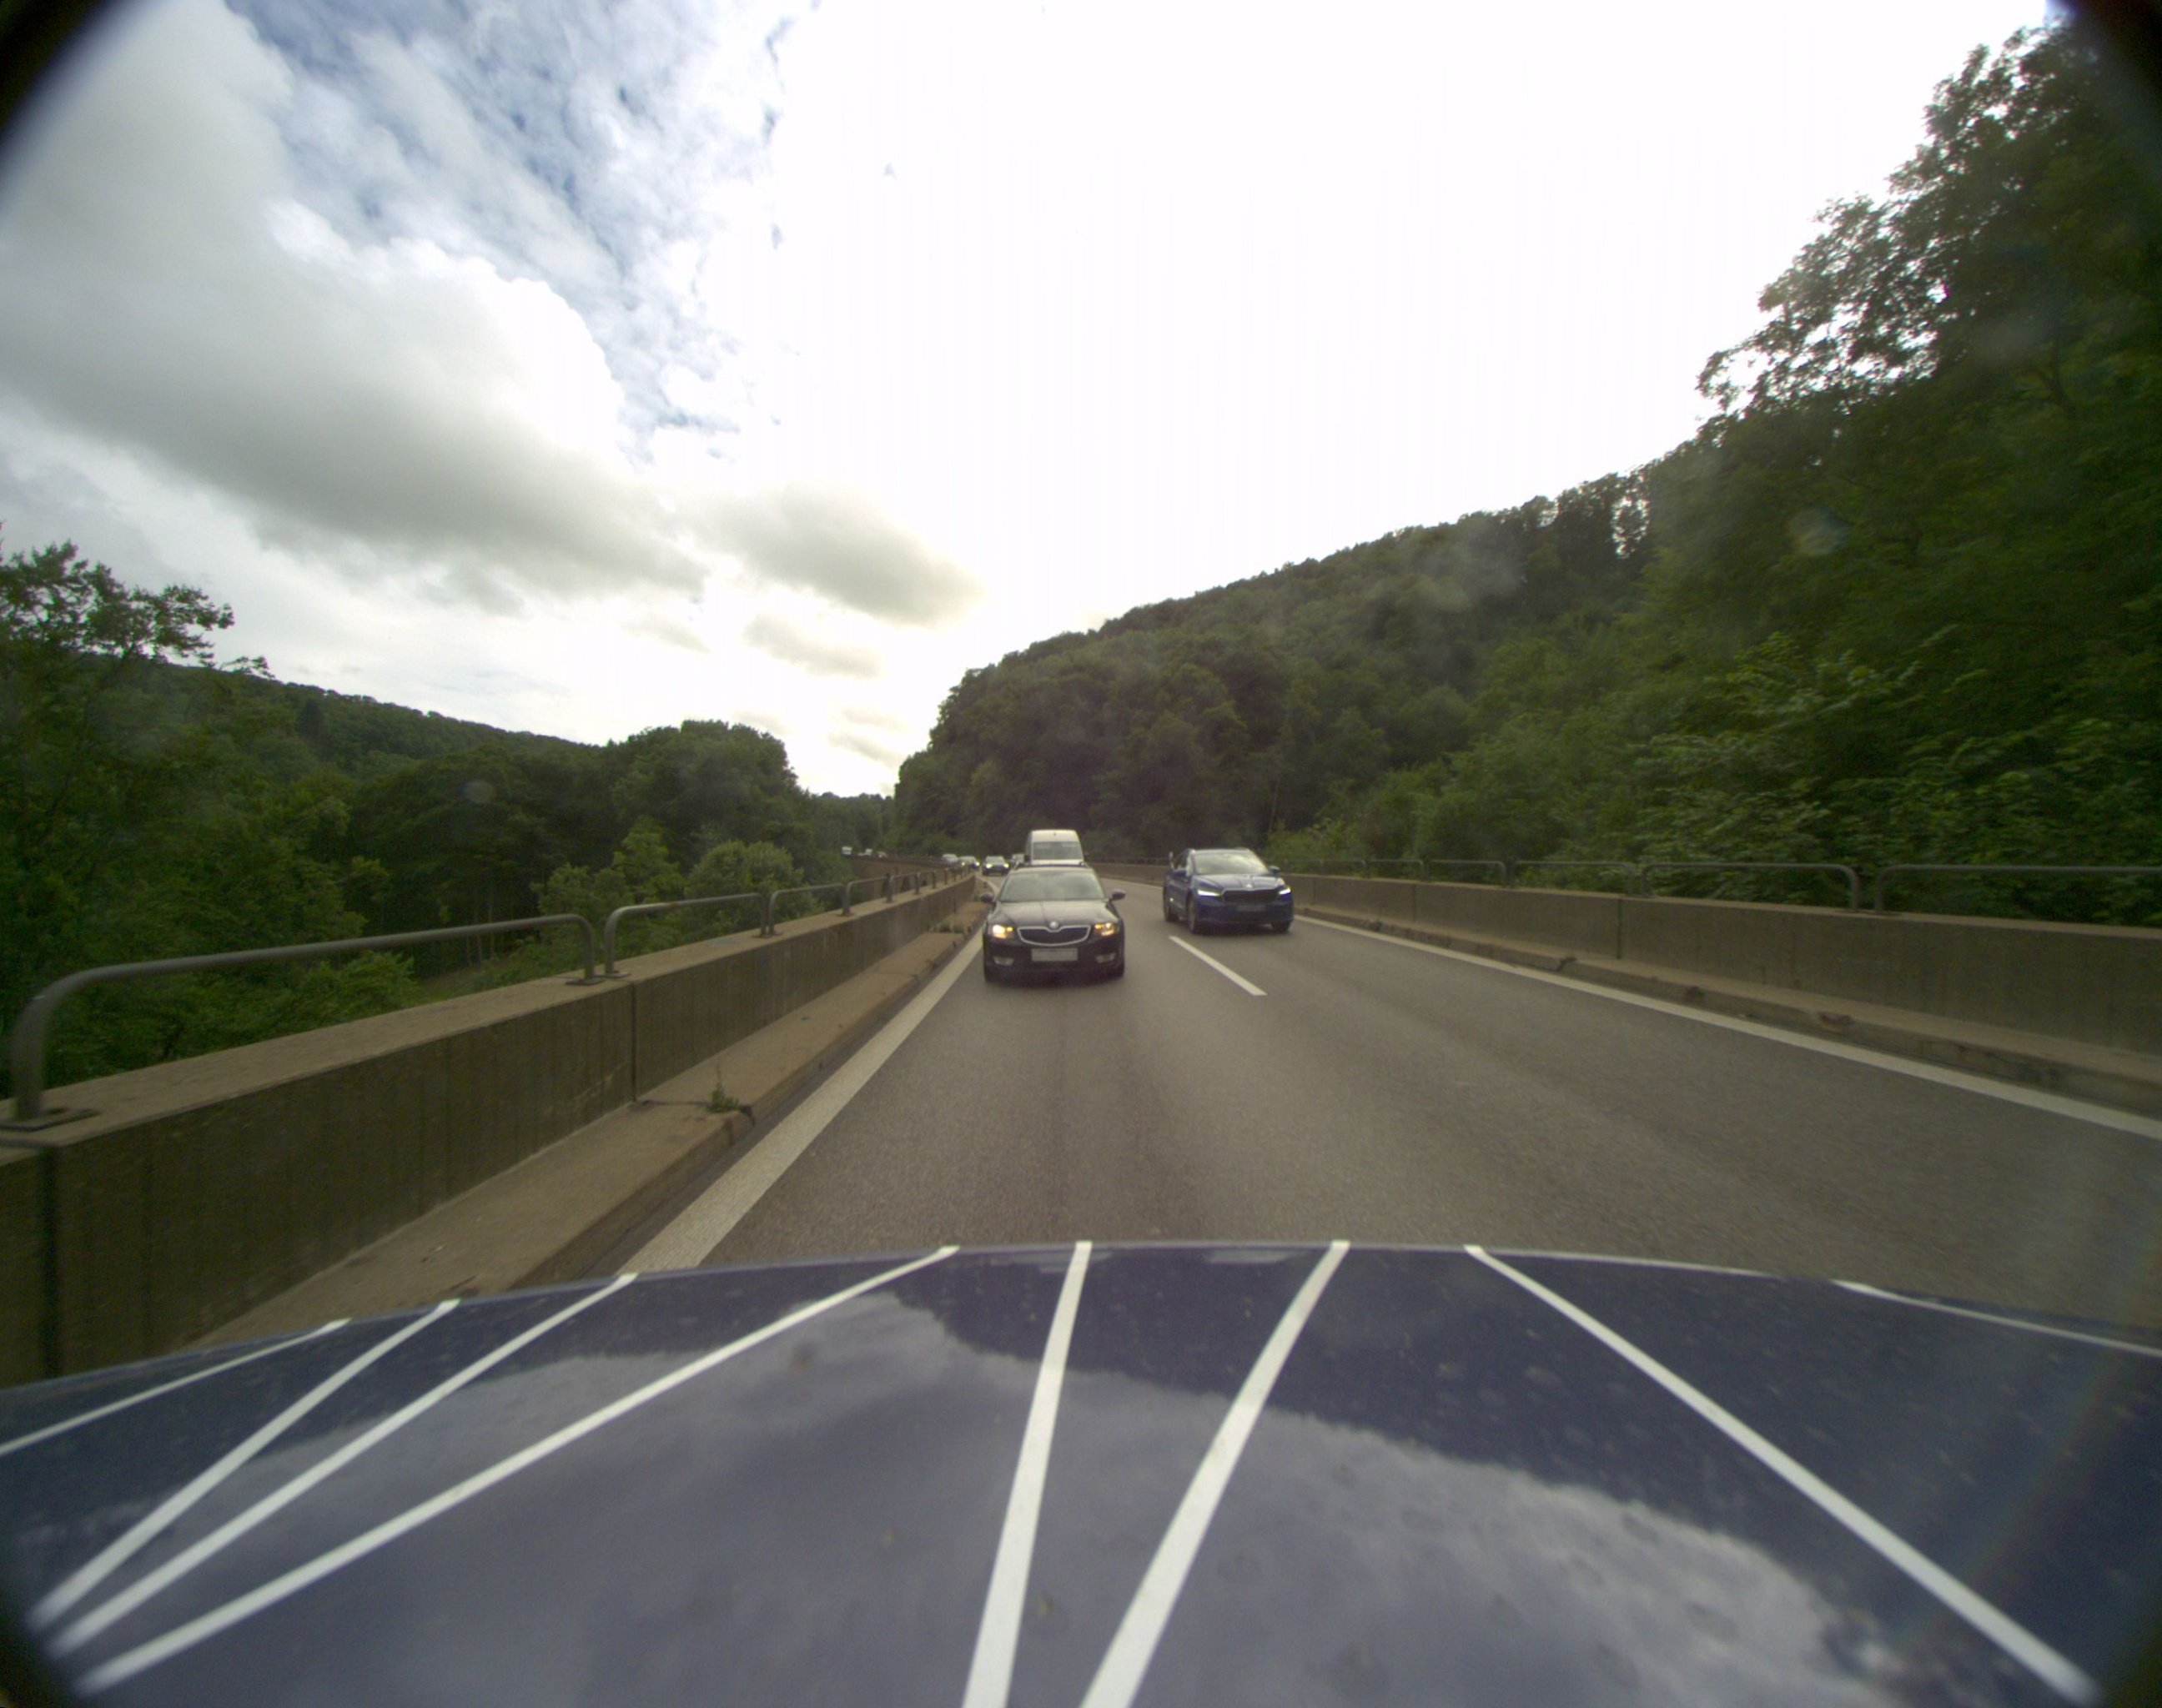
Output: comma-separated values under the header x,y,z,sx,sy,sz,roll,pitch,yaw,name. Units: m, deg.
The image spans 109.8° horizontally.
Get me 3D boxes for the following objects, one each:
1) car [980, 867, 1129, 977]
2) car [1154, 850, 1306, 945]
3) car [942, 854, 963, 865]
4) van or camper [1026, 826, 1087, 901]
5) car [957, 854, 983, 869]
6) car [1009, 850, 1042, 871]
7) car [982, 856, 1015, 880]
x,y,z,sx,sy,sz,roll,pitch,yaw,name
-0.409,0.968,12.789,1.999,1.389,5.007,-1,0,-1,car
2.875,0.769,15.918,1.999,1.622,5.007,-1,0,-2,car
-16.692,0.646,98.537,1.891,1.312,3.993,-3,1,-20,car
-0.968,0.317,29.677,2.082,2.575,5.910,-2,1,-2,van or camper
-10.776,0.674,73.680,1.890,1.312,3.994,-2,1,-16,car
-4.836,0.484,65.316,2.001,1.623,5.001,-2,1,-14,car
-6.454,1.032,58.945,1.966,1.696,3.995,-2,1,-14,car
